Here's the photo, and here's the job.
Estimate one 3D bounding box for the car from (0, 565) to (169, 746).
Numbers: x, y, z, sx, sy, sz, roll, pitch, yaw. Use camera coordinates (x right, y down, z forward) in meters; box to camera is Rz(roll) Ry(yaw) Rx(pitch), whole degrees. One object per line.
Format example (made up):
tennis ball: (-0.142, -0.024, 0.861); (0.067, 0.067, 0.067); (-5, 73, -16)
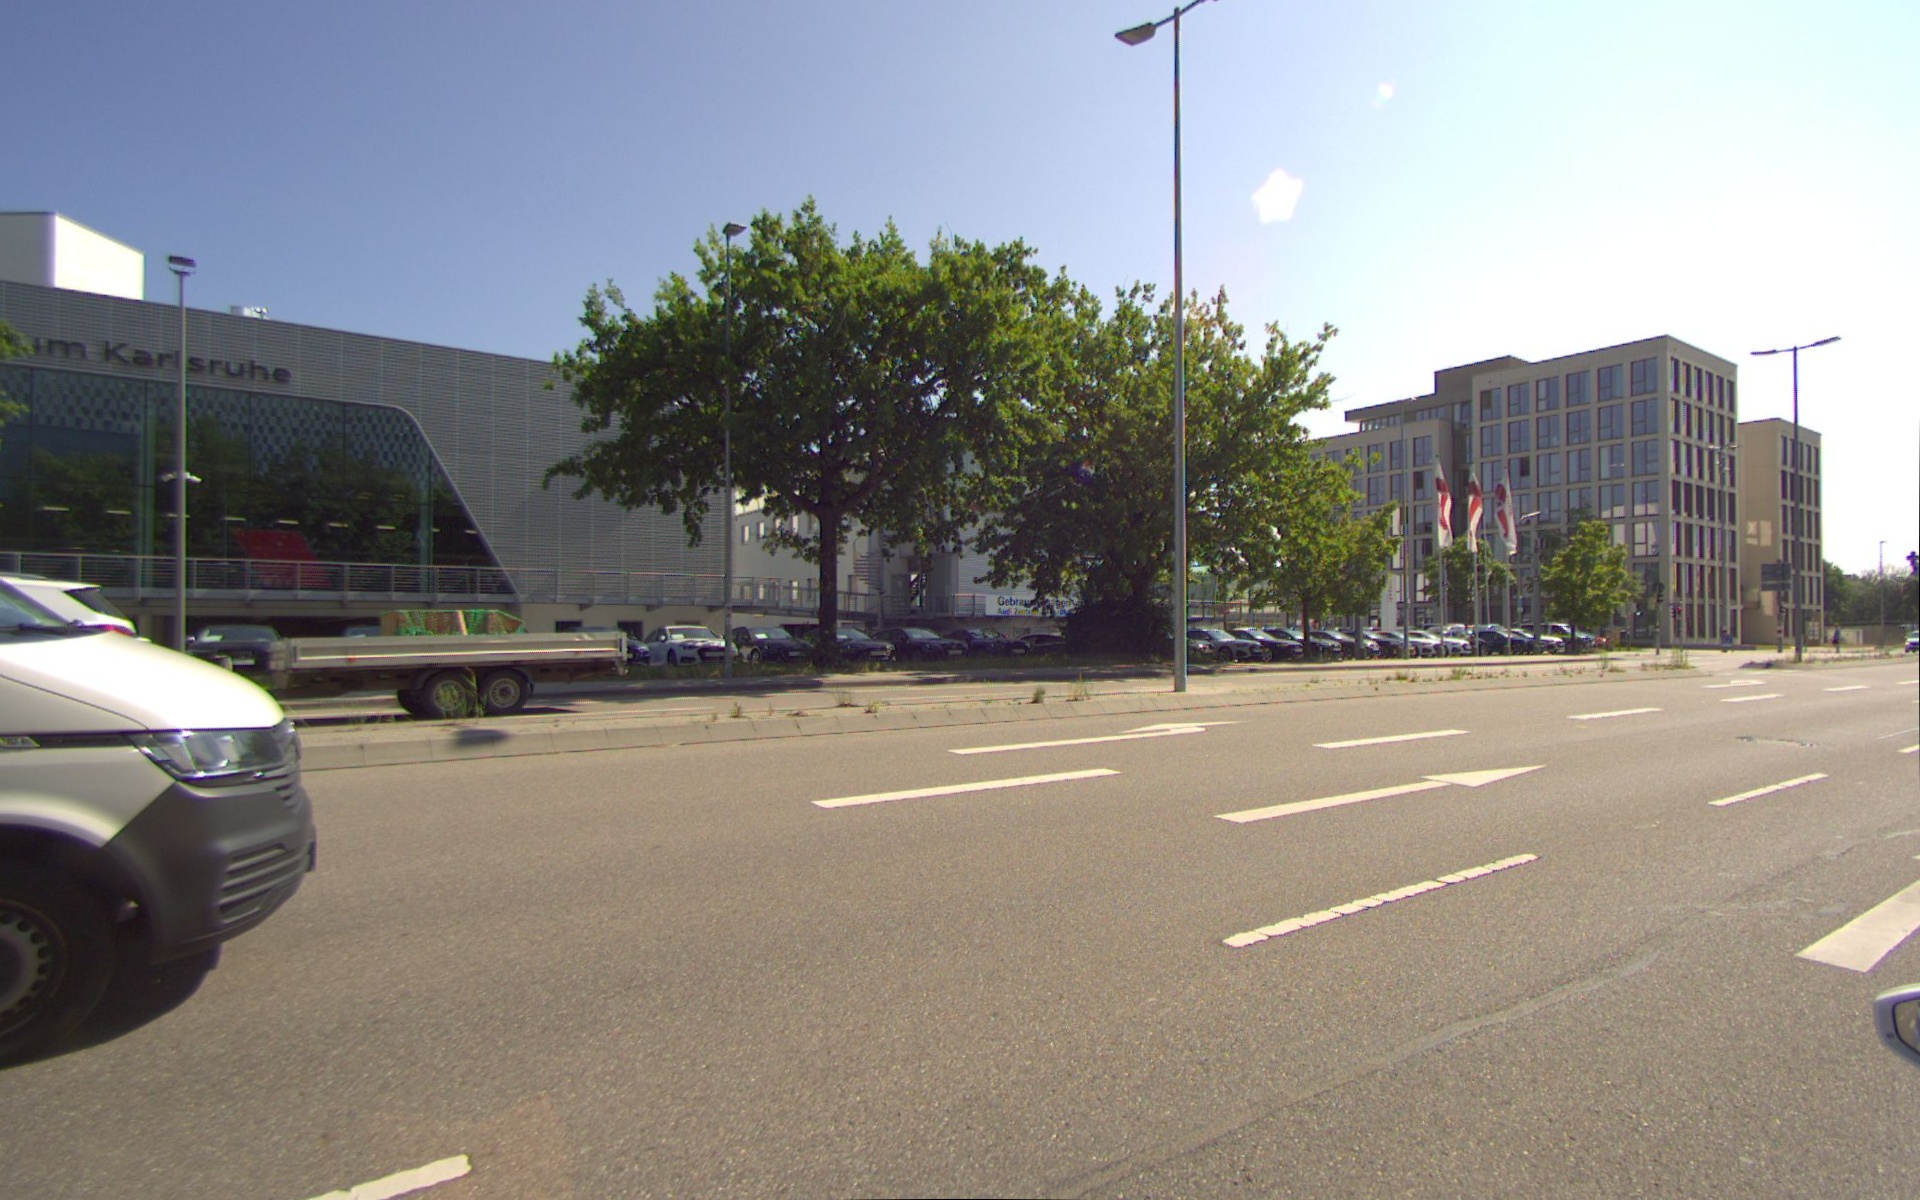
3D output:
car: (-11.383, 0.576, 10.432); (4.892, 1.857, 1.979); (1, -2, -38)

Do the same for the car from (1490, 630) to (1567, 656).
car: (31.764, 2.385, 56.149); (1.627, 1.361, 3.394); (1, -2, -32)

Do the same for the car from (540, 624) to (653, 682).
car: (-9.704, 1.358, 26.631); (1.905, 1.394, 3.962); (1, -2, -34)

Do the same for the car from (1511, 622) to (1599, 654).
car: (41.031, 2.605, 69.381); (1.979, 2.077, 4.886); (1, -2, -33)

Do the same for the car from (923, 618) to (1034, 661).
car: (0.570, 1.333, 34.501); (1.905, 1.394, 3.962); (1, -2, -34)

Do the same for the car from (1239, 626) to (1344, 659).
car: (14.339, 1.831, 43.601); (1.981, 1.361, 3.960); (1, -2, -36)

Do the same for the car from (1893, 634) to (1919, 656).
car: (64.180, 2.986, 66.945); (3.954, 1.483, 1.883); (1, -2, -31)

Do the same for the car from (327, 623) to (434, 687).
car: (-13.787, 1.253, 23.813); (1.905, 1.394, 3.962); (1, -2, -34)

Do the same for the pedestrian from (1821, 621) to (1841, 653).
pedestrian: (56.671, 2.405, 65.354); (0.745, 2.041, 0.932); (1, 1, 30)

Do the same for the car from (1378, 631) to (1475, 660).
car: (23.082, 2.213, 49.819); (1.981, 1.361, 3.960); (1, -2, -36)

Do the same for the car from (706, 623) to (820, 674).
car: (-5.865, 1.395, 29.526); (1.905, 1.394, 3.962); (1, -2, -34)

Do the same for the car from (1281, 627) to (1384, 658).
car: (16.759, 1.887, 45.299); (1.981, 1.361, 3.959); (1, -2, -37)

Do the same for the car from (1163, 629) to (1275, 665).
car: (10.416, 1.872, 40.659); (1.981, 1.361, 4.123); (1, -2, -36)

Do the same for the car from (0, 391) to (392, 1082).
car: (-4.528, 0.397, 2.826); (4.927, 2.020, 1.869); (1, -2, -37)

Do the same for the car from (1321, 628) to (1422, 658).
car: (19.179, 1.986, 46.921); (1.981, 1.361, 3.960); (1, -2, -36)

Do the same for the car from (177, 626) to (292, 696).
car: (-16.028, 1.288, 22.336); (1.905, 1.394, 3.962); (1, -2, -34)

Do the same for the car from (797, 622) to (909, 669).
car: (-3.460, 1.401, 31.792); (1.905, 1.394, 3.962); (1, -2, -34)

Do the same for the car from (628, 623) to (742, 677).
car: (-7.749, 1.359, 28.038); (1.905, 1.394, 3.962); (1, -2, -34)

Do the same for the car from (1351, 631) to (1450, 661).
car: (21.185, 2.199, 48.402); (1.981, 1.361, 3.960); (1, -2, -36)

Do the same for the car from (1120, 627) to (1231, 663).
car: (8.357, 1.729, 39.220); (1.981, 1.329, 3.960); (1, -2, -36)

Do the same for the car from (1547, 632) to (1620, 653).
car: (43.980, 2.983, 70.907); (1.979, 1.483, 3.964); (1, -2, -33)

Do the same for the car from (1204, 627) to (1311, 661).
car: (12.474, 1.807, 42.274); (1.981, 1.361, 3.960); (1, -2, -36)

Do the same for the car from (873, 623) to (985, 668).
car: (-1.087, 1.479, 33.285); (1.905, 1.394, 3.962); (1, -2, -34)

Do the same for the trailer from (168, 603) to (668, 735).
trailer: (-7.121, 0.846, 13.718); (5.719, 1.472, 1.979); (1, -2, -38)
